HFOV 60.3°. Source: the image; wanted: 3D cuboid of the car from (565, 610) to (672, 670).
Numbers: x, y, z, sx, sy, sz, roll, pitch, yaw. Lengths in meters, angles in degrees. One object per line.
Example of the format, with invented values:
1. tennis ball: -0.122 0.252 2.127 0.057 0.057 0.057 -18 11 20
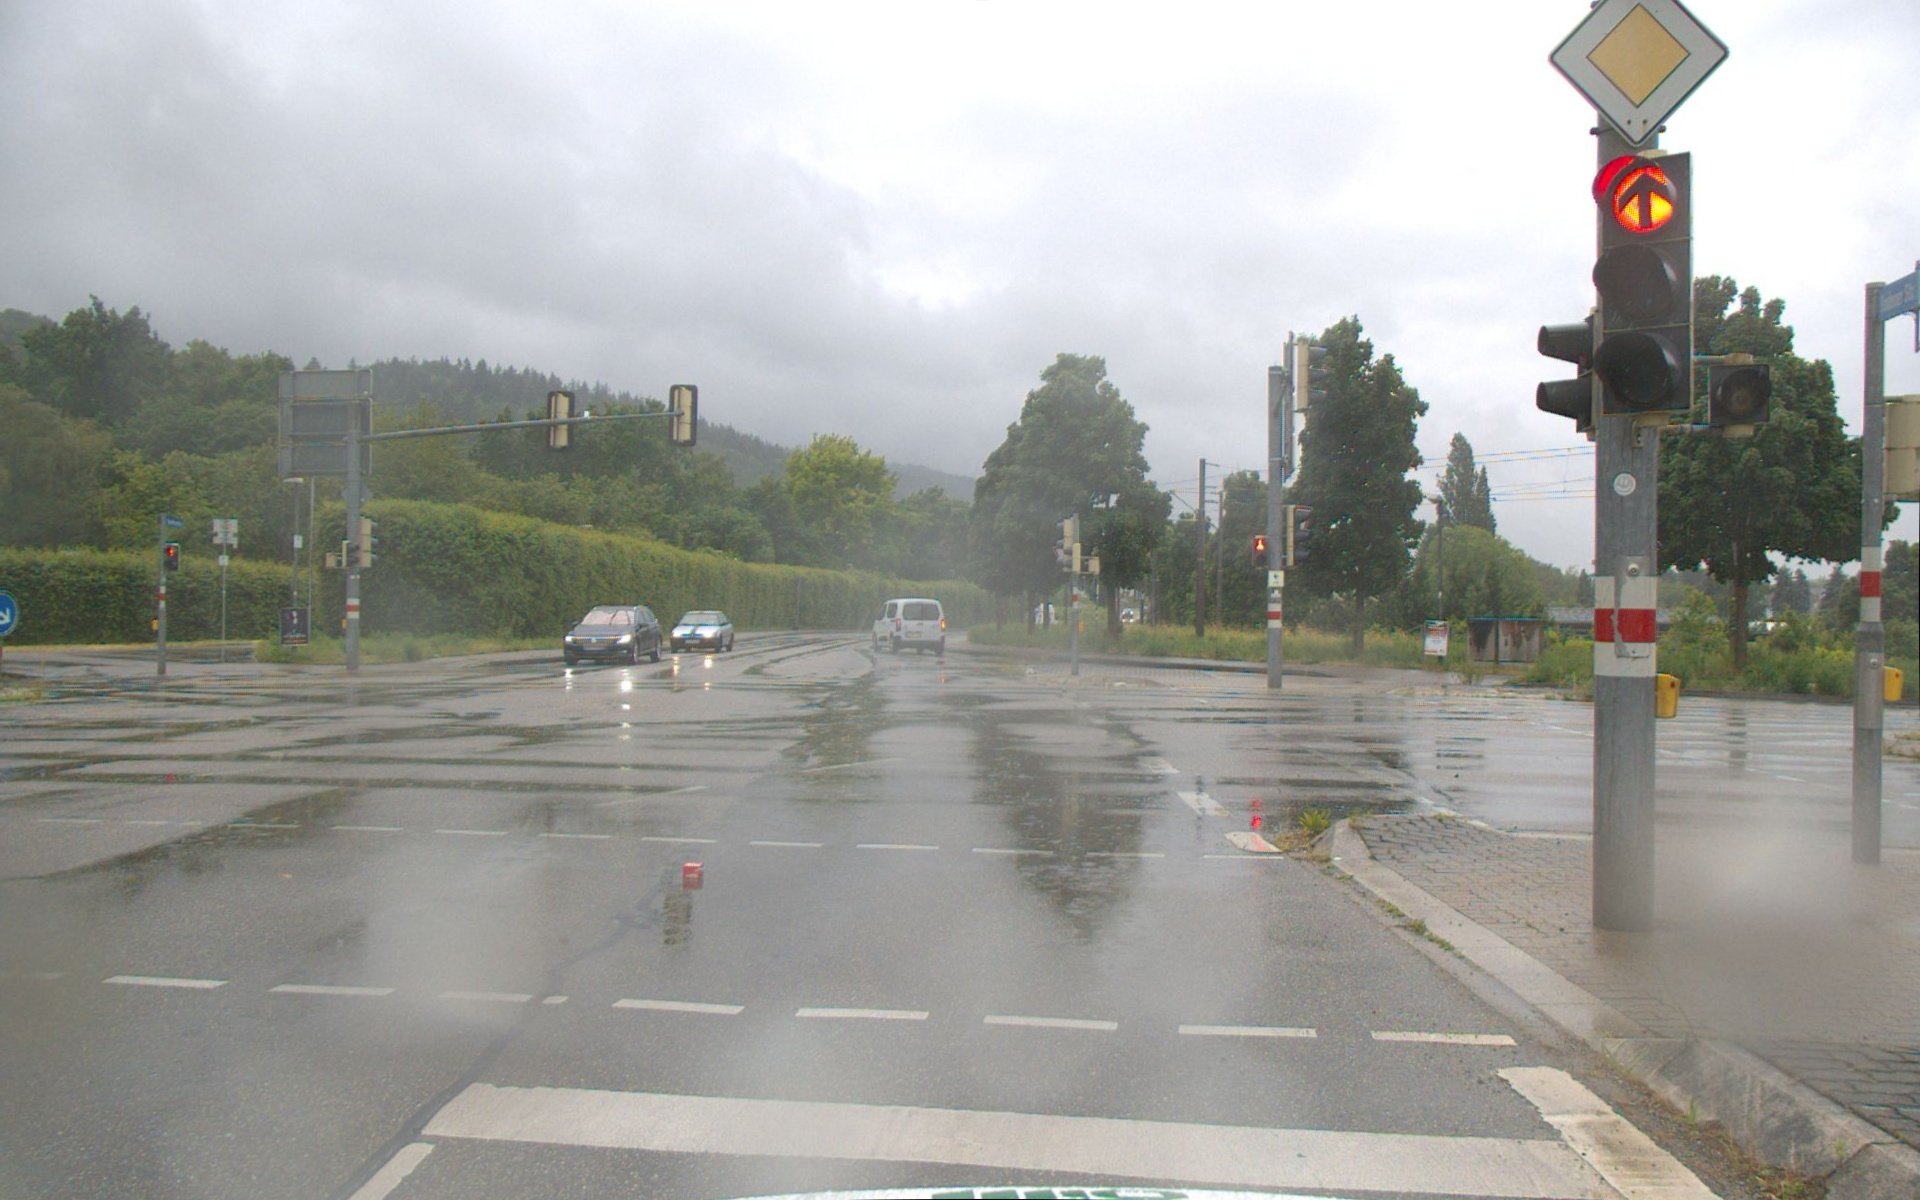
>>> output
1. car: -8.888 1.008 43.403 1.673 1.491 4.454 0 0 3

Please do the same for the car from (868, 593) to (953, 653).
1. car: -1.710 0.741 55.957 1.922 1.937 4.102 0 0 -16

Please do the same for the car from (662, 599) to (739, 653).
1. car: -8.807 0.855 56.447 1.995 1.738 4.065 1 0 -1

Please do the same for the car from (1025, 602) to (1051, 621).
1. car: 7.809 1.140 166.136 1.891 1.923 4.065 0 0 13
